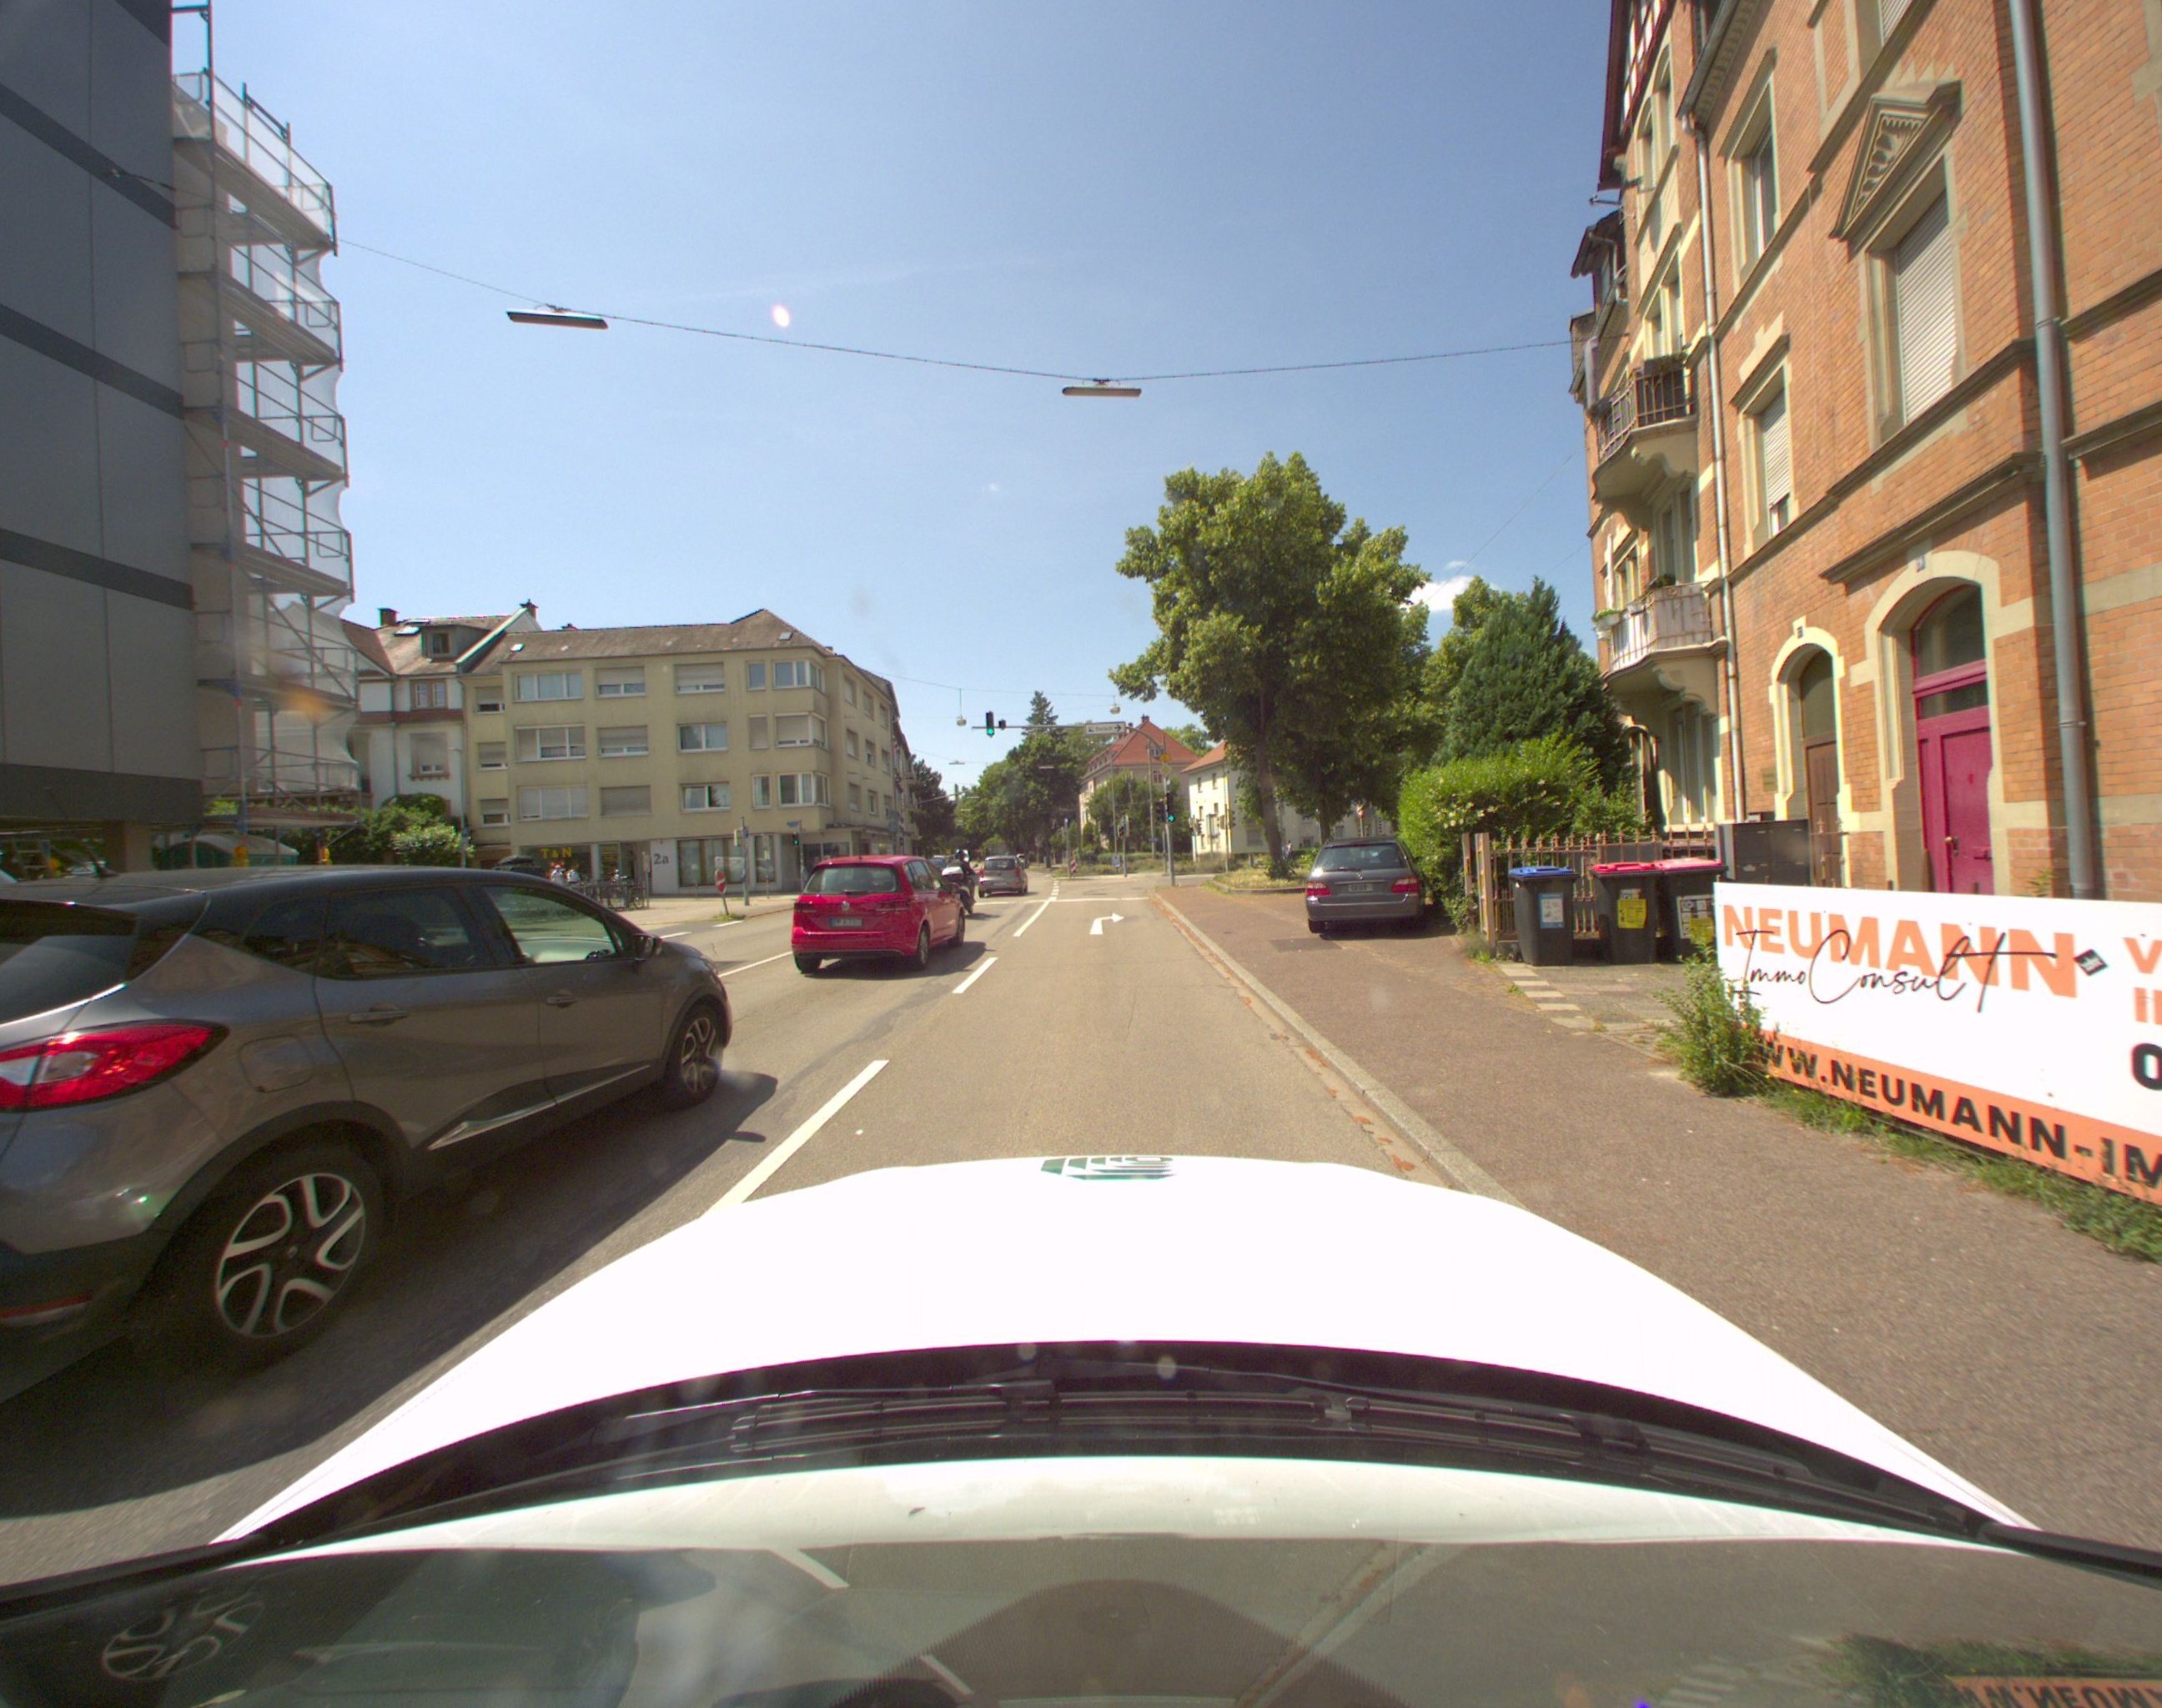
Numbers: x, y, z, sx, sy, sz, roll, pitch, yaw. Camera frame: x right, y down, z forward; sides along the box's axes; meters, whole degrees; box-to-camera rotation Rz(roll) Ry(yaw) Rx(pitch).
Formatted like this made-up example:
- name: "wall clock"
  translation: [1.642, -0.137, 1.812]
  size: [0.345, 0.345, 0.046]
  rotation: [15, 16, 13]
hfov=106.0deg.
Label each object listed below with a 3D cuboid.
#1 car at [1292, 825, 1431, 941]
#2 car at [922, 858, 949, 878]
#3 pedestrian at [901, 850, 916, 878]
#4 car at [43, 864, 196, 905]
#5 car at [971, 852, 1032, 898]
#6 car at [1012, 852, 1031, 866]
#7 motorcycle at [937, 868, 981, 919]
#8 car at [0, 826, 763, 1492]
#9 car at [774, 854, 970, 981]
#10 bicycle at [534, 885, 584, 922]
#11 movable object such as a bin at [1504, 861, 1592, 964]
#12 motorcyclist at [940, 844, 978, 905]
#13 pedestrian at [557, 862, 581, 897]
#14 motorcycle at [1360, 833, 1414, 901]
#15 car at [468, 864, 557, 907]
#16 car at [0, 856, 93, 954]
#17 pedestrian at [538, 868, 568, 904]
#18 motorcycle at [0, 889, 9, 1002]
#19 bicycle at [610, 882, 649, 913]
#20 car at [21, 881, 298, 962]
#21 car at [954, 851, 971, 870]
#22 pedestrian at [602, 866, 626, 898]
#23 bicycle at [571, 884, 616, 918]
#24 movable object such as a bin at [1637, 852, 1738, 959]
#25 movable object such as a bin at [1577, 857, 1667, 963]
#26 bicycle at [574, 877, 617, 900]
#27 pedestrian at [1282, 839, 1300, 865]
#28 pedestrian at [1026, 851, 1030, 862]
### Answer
- name: "car"
  translation: [4.988, 0.352, 14.190]
  size: [1.818, 1.548, 5.185]
  rotation: [-4, 1, 22]
- name: "car"
  translation: [-11.644, 1.135, 65.094]
  size: [1.995, 1.519, 3.983]
  rotation: [-2, -1, -12]
- name: "pedestrian"
  translation: [-12.111, 0.701, 57.186]
  size: [0.935, 1.931, 0.973]
  rotation: [-3, 0, -11]
- name: "car"
  translation: [-39.592, 1.238, 33.609]
  size: [3.977, 1.551, 1.808]
  rotation: [1, 0, -2]
- name: "car"
  translation: [-2.914, 0.738, 30.687]
  size: [1.793, 1.558, 4.038]
  rotation: [-3, 0, 1]
- name: "car"
  translation: [-7.764, 0.632, 105.439]
  size: [1.994, 1.807, 3.985]
  rotation: [-2, 0, -11]
- name: "motorcycle"
  translation: [-3.014, 0.947, 20.366]
  size: [0.708, 1.134, 2.197]
  rotation: [-3, 0, 0]
- name: "car"
  translation: [-3.329, 0.767, 4.017]
  size: [1.747, 1.632, 4.003]
  rotation: [-2, 0, 2]
- name: "car"
  translation: [-2.947, 0.816, 12.421]
  size: [1.792, 1.558, 4.039]
  rotation: [-2, 0, 2]
- name: "bicycle"
  translation: [-15.361, 1.434, 24.024]
  size: [0.396, 0.967, 1.717]
  rotation: [-2, 0, -3]
- name: "movable object such as a bin"
  translation: [5.148, 0.633, 9.013]
  size: [0.645, 1.071, 0.639]
  rotation: [-3, 0, 12]
- name: "motorcyclist"
  translation: [-3.030, 0.504, 20.320]
  size: [0.708, 1.445, 1.019]
  rotation: [-3, 0, 0]
- name: "pedestrian"
  translation: [-24.645, 1.233, 39.199]
  size: [0.683, 1.632, 0.649]
  rotation: [-3, 0, 2]
- name: "motorcycle"
  translation: [6.696, 0.256, 17.727]
  size: [0.922, 1.302, 2.294]
  rotation: [-4, 1, 23]
- name: "car"
  translation: [-24.696, 1.384, 35.336]
  size: [4.273, 1.664, 2.013]
  rotation: [-3, 0, 39]
- name: "car"
  translation: [-24.980, 1.053, 17.382]
  size: [4.986, 2.013, 1.997]
  rotation: [1, 0, -4]
- name: "pedestrian"
  translation: [-24.836, 1.490, 38.313]
  size: [0.798, 1.632, 0.823]
  rotation: [-3, 0, 2]
- name: "motorcycle"
  translation: [-15.230, 1.238, 10.955]
  size: [2.016, 1.471, 0.887]
  rotation: [-2, 0, 39]
- name: "bicycle"
  translation: [-15.509, 1.486, 28.012]
  size: [0.396, 0.967, 1.782]
  rotation: [-2, 0, -3]
- name: "car"
  translation: [-19.475, 1.396, 17.357]
  size: [3.718, 1.447, 1.756]
  rotation: [-2, 0, -3]
- name: "car"
  translation: [-17.112, 0.976, 117.905]
  size: [2.215, 2.501, 7.533]
  rotation: [-6, 0, -8]
- name: "pedestrian"
  translation: [-22.020, 1.326, 38.444]
  size: [0.683, 1.475, 0.649]
  rotation: [-3, 0, 2]
- name: "bicycle"
  translation: [-15.472, 1.466, 25.896]
  size: [0.396, 0.967, 1.744]
  rotation: [-2, 0, -3]
- name: "movable object such as a bin"
  translation: [6.420, 0.529, 8.649]
  size: [0.572, 1.071, 0.707]
  rotation: [-3, 0, 11]
- name: "movable object such as a bin"
  translation: [5.843, 0.589, 8.831]
  size: [0.548, 1.071, 0.707]
  rotation: [-3, 0, 11]
- name: "bicycle"
  translation: [-23.884, 1.690, 40.060]
  size: [1.732, 1.026, 0.498]
  rotation: [-2, 0, -1]
- name: "pedestrian"
  translation: [14.015, -0.149, 54.296]
  size: [0.840, 1.705, 0.756]
  rotation: [-2, 0, -26]
- name: "pedestrian"
  translation: [-7.698, 0.337, 117.732]
  size: [0.508, 1.656, 0.465]
  rotation: [-2, 0, -6]
